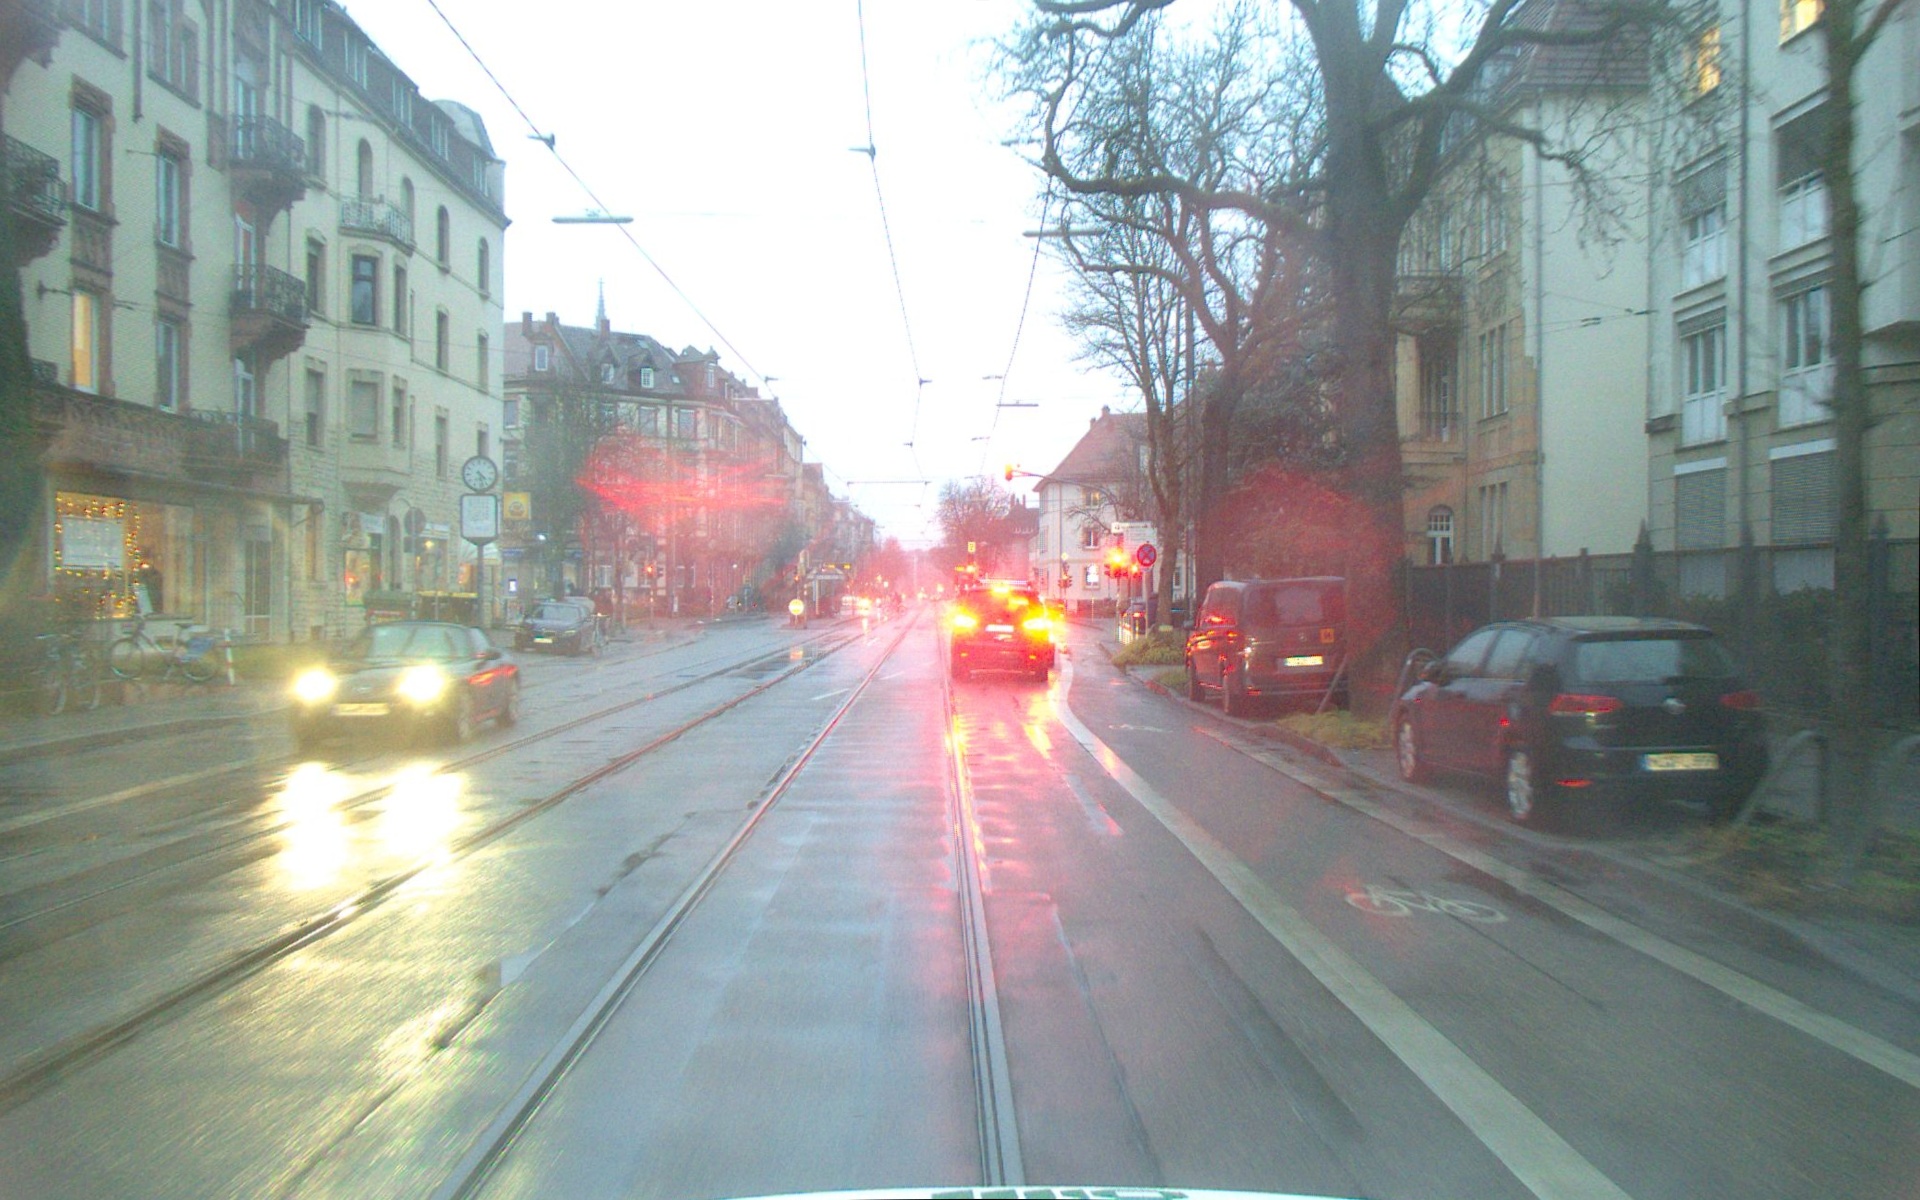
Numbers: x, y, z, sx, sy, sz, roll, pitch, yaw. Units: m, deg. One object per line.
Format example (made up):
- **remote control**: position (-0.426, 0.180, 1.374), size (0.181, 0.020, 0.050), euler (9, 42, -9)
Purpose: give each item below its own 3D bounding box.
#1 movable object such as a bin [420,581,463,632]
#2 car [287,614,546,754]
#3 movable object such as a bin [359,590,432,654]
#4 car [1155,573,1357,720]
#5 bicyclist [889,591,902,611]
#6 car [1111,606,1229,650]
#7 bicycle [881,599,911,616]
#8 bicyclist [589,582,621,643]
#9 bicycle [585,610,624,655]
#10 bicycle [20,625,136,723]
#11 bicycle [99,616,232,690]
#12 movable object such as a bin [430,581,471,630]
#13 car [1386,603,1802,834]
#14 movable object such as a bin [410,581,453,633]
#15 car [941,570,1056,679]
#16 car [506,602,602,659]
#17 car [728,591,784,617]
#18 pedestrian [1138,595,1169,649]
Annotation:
- **movable object such as a bin**: position (-16.857, 0.202, 53.757), size (0.993, 1.628, 1.155), euler (-1, 1, 1)
- **car**: position (-5.682, 0.817, 17.764), size (1.627, 1.219, 3.873), euler (-1, 1, -3)
- **movable object such as a bin**: position (-14.191, 0.550, 41.624), size (1.380, 1.557, 1.364), euler (-1, 1, -1)
- **car**: position (4.247, 0.583, 24.570), size (1.953, 1.933, 5.025), euler (-1, 1, -2)
- **bicyclist**: position (-4.642, 0.090, 119.366), size (0.808, 1.400, 0.555), euler (-1, 1, -15)
- **car**: position (9.079, 1.196, 71.422), size (4.873, 1.747, 1.688), euler (-1, 1, -20)
- **bicycle**: position (-4.644, 0.544, 119.357), size (2.069, 1.153, 0.555), euler (-1, 1, -15)
- **bicyclist**: position (-9.747, 0.340, 45.439), size (0.702, 1.630, 0.931), euler (-1, 1, -3)
- **bicycle**: position (-9.730, 0.874, 45.331), size (0.702, 1.130, 2.063), euler (-1, 1, -3)
- **bicycle**: position (-10.950, 0.892, 20.588), size (0.602, 1.099, 1.809), euler (-1, 1, -5)
- **bicycle**: position (-12.527, 0.824, 26.115), size (1.771, 1.099, 0.615), euler (-1, 1, -8)
- **movable object such as a bin**: position (-16.935, 0.176, 55.039), size (0.993, 1.628, 1.081), euler (-1, 1, 1)
- **car**: position (4.777, 0.795, 13.107), size (1.643, 1.485, 4.041), euler (-1, 0, -2)
- **movable object such as a bin**: position (-16.778, 0.211, 52.503), size (0.993, 1.628, 1.081), euler (-1, 1, 1)
- **car**: position (0.669, 0.478, 32.189), size (1.953, 1.930, 4.757), euler (1, -1, -2)
- **car**: position (-11.552, 0.831, 47.340), size (1.796, 1.472, 4.000), euler (-1, 1, -1)
- **car**: position (-14.484, 0.254, 117.405), size (3.914, 1.747, 1.899), euler (-1, 1, -9)
- **pedestrian**: position (7.438, 0.831, 63.518), size (1.002, 2.049, 0.918), euler (-1, 1, -4)
